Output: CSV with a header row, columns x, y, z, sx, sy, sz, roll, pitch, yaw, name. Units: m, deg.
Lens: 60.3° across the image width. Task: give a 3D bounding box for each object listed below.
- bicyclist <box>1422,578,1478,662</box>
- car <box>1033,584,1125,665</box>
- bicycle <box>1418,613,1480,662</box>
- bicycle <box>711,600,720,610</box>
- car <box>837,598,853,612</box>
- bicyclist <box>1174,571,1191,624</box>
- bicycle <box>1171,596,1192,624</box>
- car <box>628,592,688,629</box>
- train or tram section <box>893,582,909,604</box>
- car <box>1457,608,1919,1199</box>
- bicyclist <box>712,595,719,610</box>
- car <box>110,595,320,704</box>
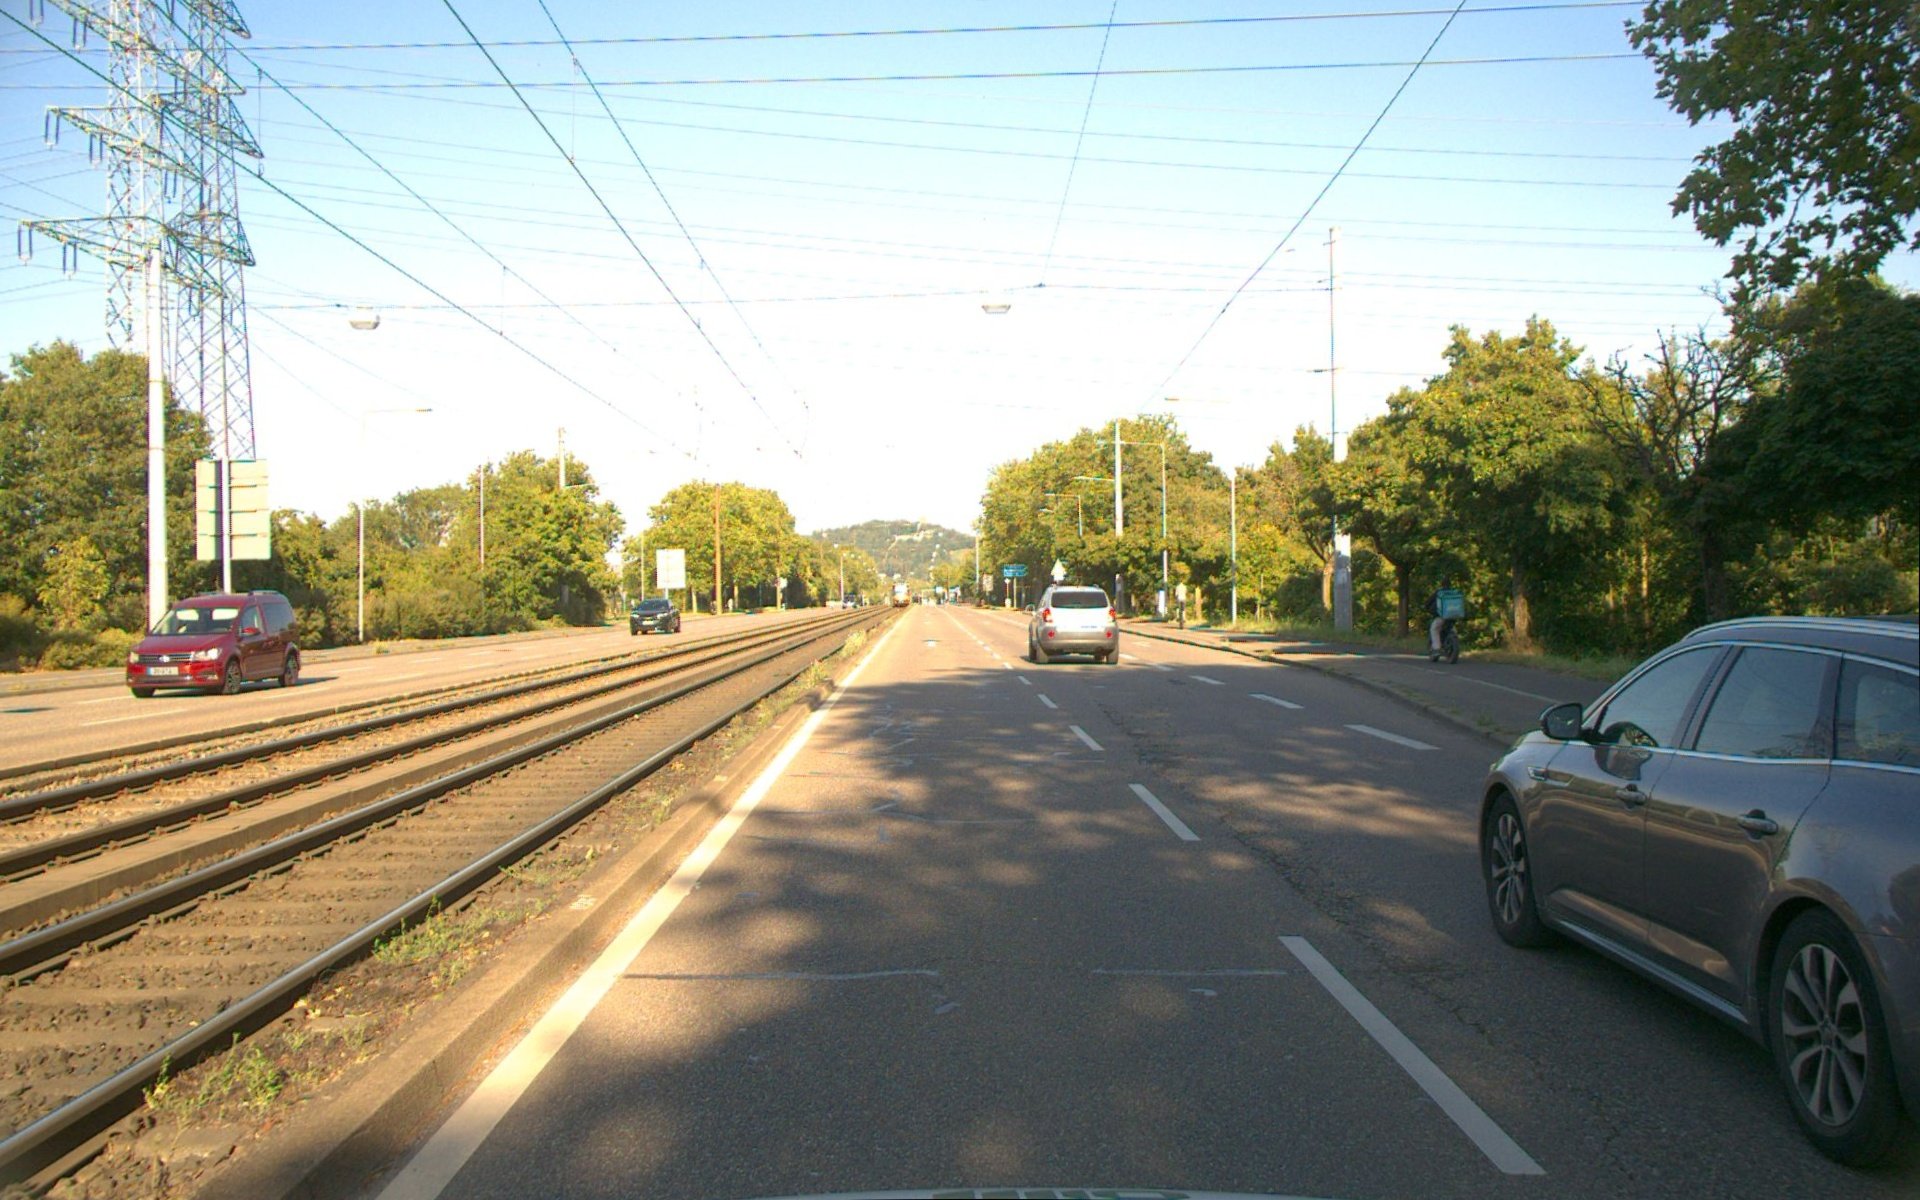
x,y,z,sx,sy,sz,roll,pitch,yaw,name
9.159,0.376,30.948,0.614,1.496,1.060,-4,0,-1,bicyclist
2.667,0.541,37.851,1.849,1.723,4.257,0,0,1,car
9.195,0.700,31.166,0.614,0.848,1.634,-4,0,-1,bicycle
-25.000,0.508,169.064,0.578,1.040,2.185,-1,0,-2,bicycle
-16.954,0.749,243.255,1.953,1.956,4.860,-1,0,0,car
8.743,-0.093,65.025,0.516,2.052,0.729,1,-1,0,bicyclist
8.739,0.402,65.297,0.516,1.079,1.971,1,0,0,bicycle
-14.432,0.482,79.277,1.953,1.653,4.683,-2,0,0,car
-8.825,-0.997,247.764,2.264,3.273,9.472,1,0,-1,train or tram section
3.301,0.769,5.704,1.838,1.468,4.660,0,0,1,car
-25.010,0.247,169.213,0.578,1.555,0.906,-1,0,-2,bicyclist
-13.788,0.864,30.915,1.953,1.827,4.349,-2,0,-1,car
